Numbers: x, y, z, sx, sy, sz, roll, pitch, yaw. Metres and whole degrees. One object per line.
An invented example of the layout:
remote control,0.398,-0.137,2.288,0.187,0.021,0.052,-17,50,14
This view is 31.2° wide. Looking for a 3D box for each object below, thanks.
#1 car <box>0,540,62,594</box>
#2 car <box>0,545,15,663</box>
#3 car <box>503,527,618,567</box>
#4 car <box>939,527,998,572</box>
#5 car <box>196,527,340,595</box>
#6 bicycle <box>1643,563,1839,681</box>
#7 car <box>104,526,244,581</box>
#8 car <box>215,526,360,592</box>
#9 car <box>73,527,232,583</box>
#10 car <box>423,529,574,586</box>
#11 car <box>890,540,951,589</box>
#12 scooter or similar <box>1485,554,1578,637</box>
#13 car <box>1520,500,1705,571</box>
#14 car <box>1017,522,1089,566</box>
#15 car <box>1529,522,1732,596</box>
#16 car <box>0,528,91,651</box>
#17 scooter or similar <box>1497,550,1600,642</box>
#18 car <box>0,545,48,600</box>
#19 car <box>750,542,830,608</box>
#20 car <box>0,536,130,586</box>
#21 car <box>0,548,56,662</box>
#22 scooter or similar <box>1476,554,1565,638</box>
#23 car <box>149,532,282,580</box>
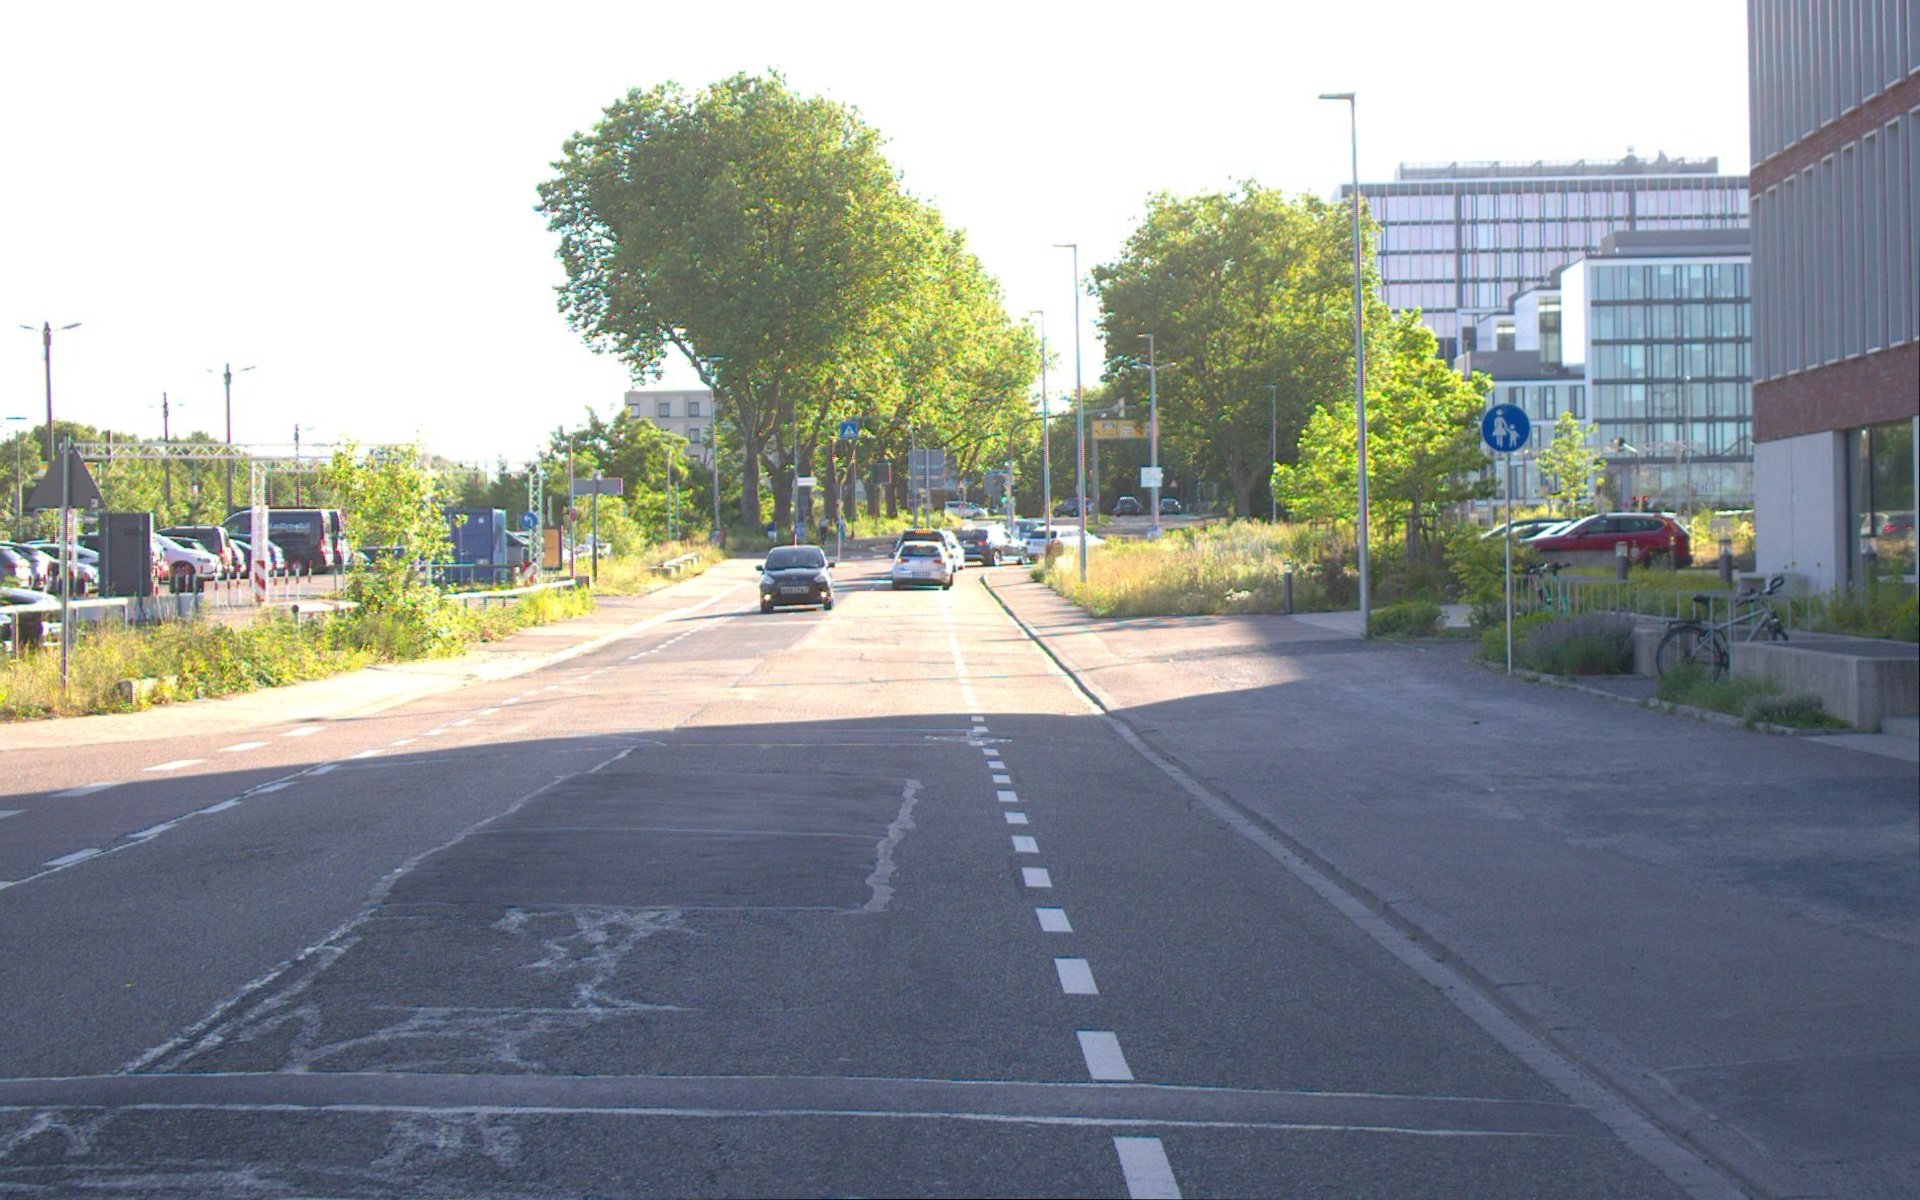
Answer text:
car,-26.690,-0.910,93.019,4.321,1.415,1.878,1,1,-1
car,-14.093,0.046,42.184,4.428,1.457,2.048,0,1,1
car,-16.115,-2.142,138.791,4.425,1.552,1.878,1,1,-1
car,0.358,-1.955,133.307,2.163,1.678,4.000,-1,1,2
car,-26.054,-1.473,129.572,4.926,2.451,2.320,-1,1,-1
bicycle,8.053,0.224,35.447,1.931,1.166,0.375,-1,1,-6
car,-26.670,-1.578,116.696,4.321,1.785,1.878,1,1,-1
car,-25.851,-1.574,132.256,5.096,2.451,2.320,1,1,-1
car,-26.053,-1.471,110.997,4.580,1.735,2.058,1,1,4
car,-15.579,-1.444,116.304,4.845,1.828,2.000,1,1,-1
car,-1.189,-1.094,104.441,1.790,1.415,4.000,1,1,0
scooter or similar,8.083,-0.059,48.643,1.243,1.152,0.366,-1,1,4
car,15.747,-1.546,83.165,4.185,1.575,1.851,0,-3,3
car,3.766,-2.244,138.974,2.165,1.678,3.998,1,0,12
car,14.838,-0.925,76.209,4.185,1.575,1.851,1,1,3
car,-14.554,-0.166,47.746,4.428,1.664,2.048,0,1,1
scooter or similar,8.054,-0.059,47.085,1.340,1.241,0.423,-1,1,4
car,-26.322,-0.752,90.145,4.321,1.415,1.878,1,1,-1
car,-3.995,-0.585,81.312,1.654,1.498,4.000,-1,0,0
car,-26.127,-1.120,98.317,4.321,1.371,1.878,1,1,-1
car,-14.263,0.043,44.774,4.428,1.457,2.048,0,1,1
scooter or similar,8.173,-0.059,50.155,1.243,1.191,0.340,-1,1,4
car,-26.391,-1.574,121.958,4.321,1.612,1.878,1,1,-1
